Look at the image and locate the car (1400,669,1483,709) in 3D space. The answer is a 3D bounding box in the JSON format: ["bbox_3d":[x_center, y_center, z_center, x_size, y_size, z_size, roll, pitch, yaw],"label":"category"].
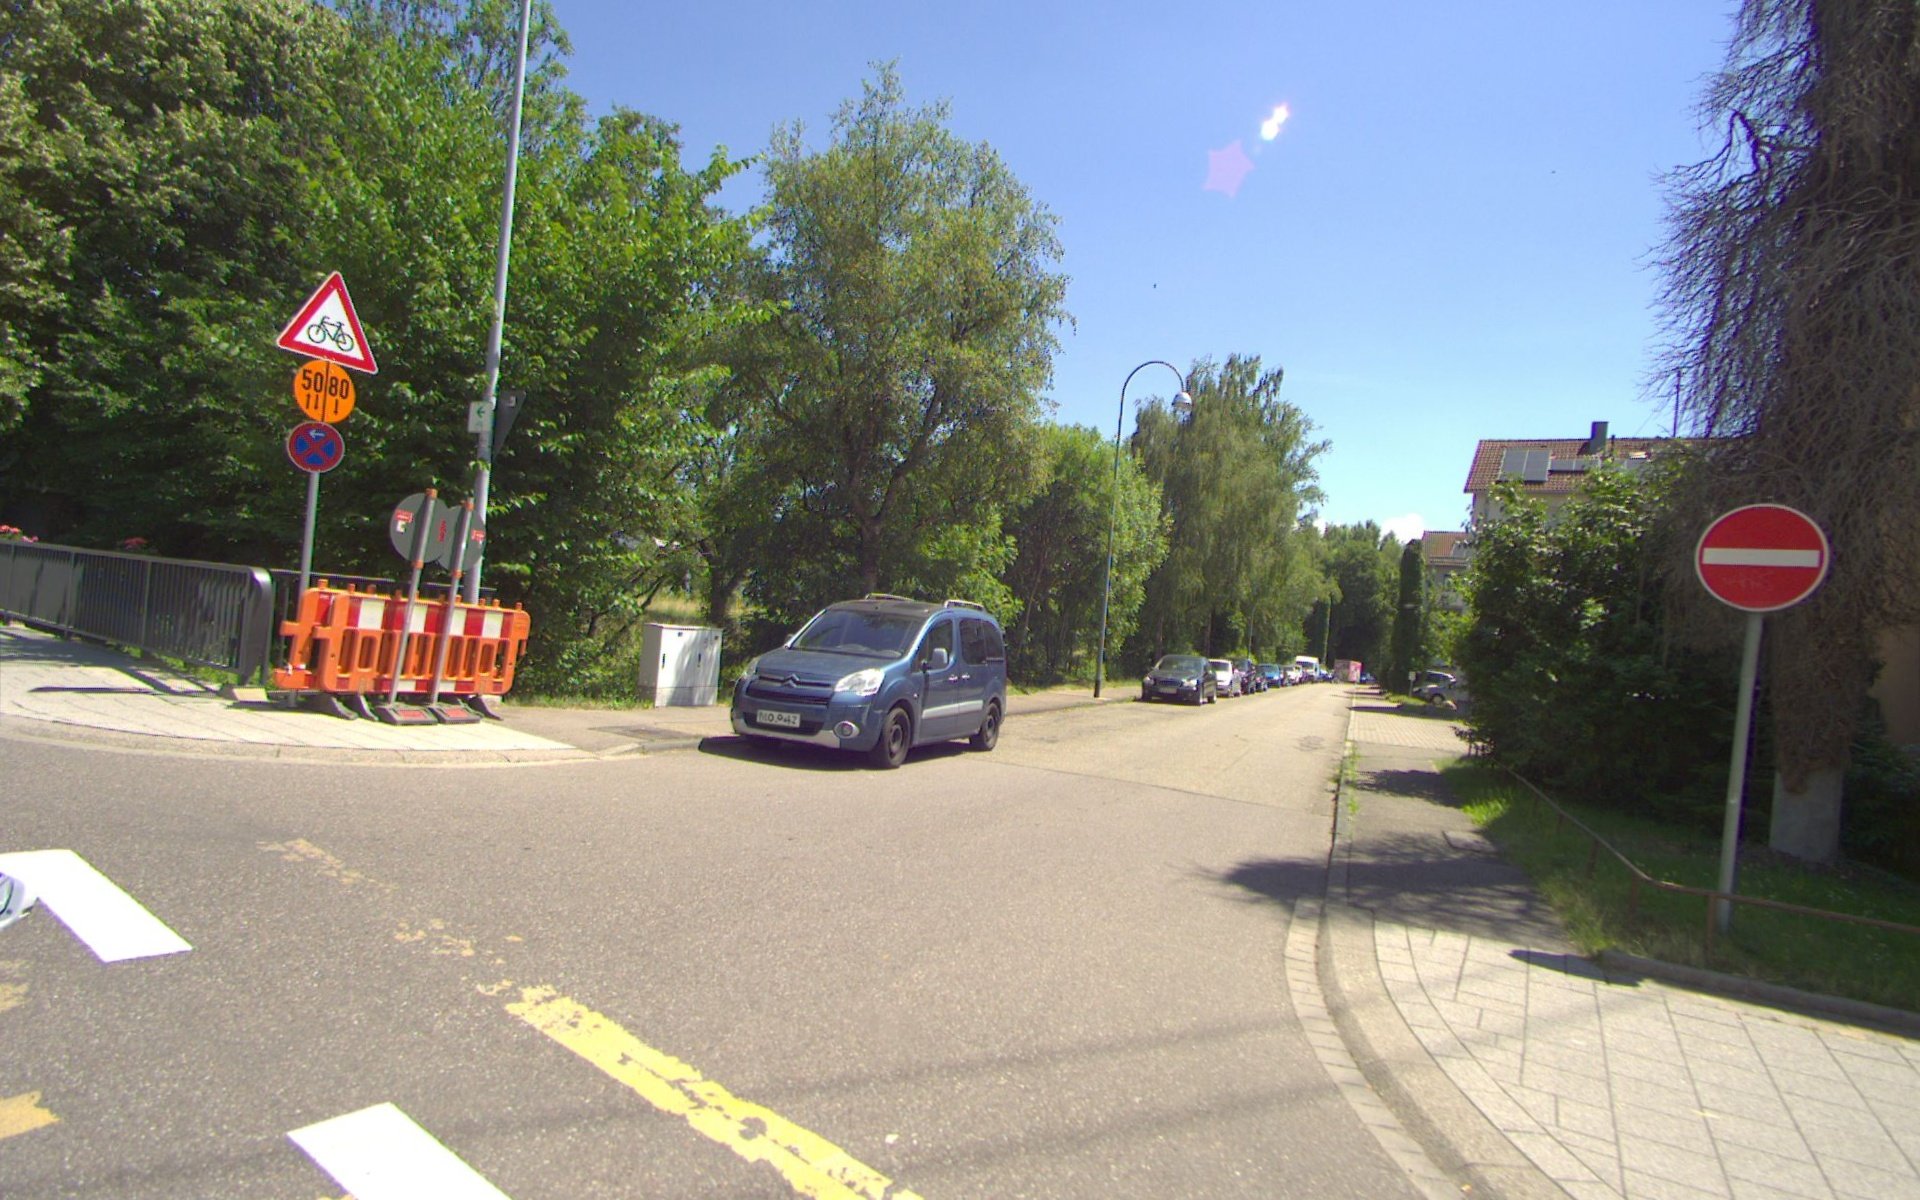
[{"bbox_3d":[26.460,4.864,55.306,3.931,1.705,1.997,5,-1,29],"label":"car"}]

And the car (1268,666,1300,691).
[{"bbox_3d":[24.596,5.960,76.339,1.855,1.597,4.515,5,-3,23],"label":"car"}]

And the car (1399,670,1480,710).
[{"bbox_3d":[27.308,5.088,57.281,3.931,1.805,1.997,5,-1,29],"label":"car"}]

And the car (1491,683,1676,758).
[{"bbox_3d":[16.559,3.164,26.918,3.848,1.438,1.620,5,-1,20],"label":"car"}]

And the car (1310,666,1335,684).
[{"bbox_3d":[38.550,7.983,106.899,1.965,1.597,4.512,5,-3,27],"label":"car"}]

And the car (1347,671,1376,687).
[{"bbox_3d":[47.263,9.315,118.491,1.970,1.597,4.500,5,-3,37],"label":"car"}]

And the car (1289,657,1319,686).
[{"bbox_3d":[33.000,6.876,96.411,2.223,2.438,5.433,5,-3,23],"label":"car"}]

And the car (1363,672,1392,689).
[{"bbox_3d":[51.011,9.871,122.938,1.972,1.597,4.496,5,-3,40],"label":"car"}]

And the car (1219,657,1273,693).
[{"bbox_3d":[14.230,3.753,49.943,1.964,1.518,4.515,5,-3,23],"label":"car"}]

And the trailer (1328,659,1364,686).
[{"bbox_3d":[43.952,8.251,114.393,2.230,2.617,5.275,5,-3,37],"label":"trailer"}]

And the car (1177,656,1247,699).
[{"bbox_3d":[9.831,3.008,38.957,1.874,1.397,4.514,5,-3,23],"label":"car"}]

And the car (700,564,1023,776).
[{"bbox_3d":[-0.864,0.821,11.630,1.718,1.859,4.354,5,-3,23],"label":"car"}]

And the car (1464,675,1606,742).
[{"bbox_3d":[19.299,3.620,33.956,3.932,1.712,1.970,5,-1,29],"label":"car"}]

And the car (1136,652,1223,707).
[{"bbox_3d":[6.706,2.380,30.448,1.729,1.439,4.513,3,-3,23],"label":"car"}]

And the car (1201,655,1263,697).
[{"bbox_3d":[12.136,3.415,44.710,1.964,1.547,4.515,5,-3,23],"label":"car"}]

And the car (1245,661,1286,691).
[{"bbox_3d":[19.141,4.769,62.895,1.929,1.597,4.515,5,-3,23],"label":"car"}]

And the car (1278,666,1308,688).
[{"bbox_3d":[28.706,6.649,86.632,1.964,1.597,4.515,5,-3,23],"label":"car"}]
